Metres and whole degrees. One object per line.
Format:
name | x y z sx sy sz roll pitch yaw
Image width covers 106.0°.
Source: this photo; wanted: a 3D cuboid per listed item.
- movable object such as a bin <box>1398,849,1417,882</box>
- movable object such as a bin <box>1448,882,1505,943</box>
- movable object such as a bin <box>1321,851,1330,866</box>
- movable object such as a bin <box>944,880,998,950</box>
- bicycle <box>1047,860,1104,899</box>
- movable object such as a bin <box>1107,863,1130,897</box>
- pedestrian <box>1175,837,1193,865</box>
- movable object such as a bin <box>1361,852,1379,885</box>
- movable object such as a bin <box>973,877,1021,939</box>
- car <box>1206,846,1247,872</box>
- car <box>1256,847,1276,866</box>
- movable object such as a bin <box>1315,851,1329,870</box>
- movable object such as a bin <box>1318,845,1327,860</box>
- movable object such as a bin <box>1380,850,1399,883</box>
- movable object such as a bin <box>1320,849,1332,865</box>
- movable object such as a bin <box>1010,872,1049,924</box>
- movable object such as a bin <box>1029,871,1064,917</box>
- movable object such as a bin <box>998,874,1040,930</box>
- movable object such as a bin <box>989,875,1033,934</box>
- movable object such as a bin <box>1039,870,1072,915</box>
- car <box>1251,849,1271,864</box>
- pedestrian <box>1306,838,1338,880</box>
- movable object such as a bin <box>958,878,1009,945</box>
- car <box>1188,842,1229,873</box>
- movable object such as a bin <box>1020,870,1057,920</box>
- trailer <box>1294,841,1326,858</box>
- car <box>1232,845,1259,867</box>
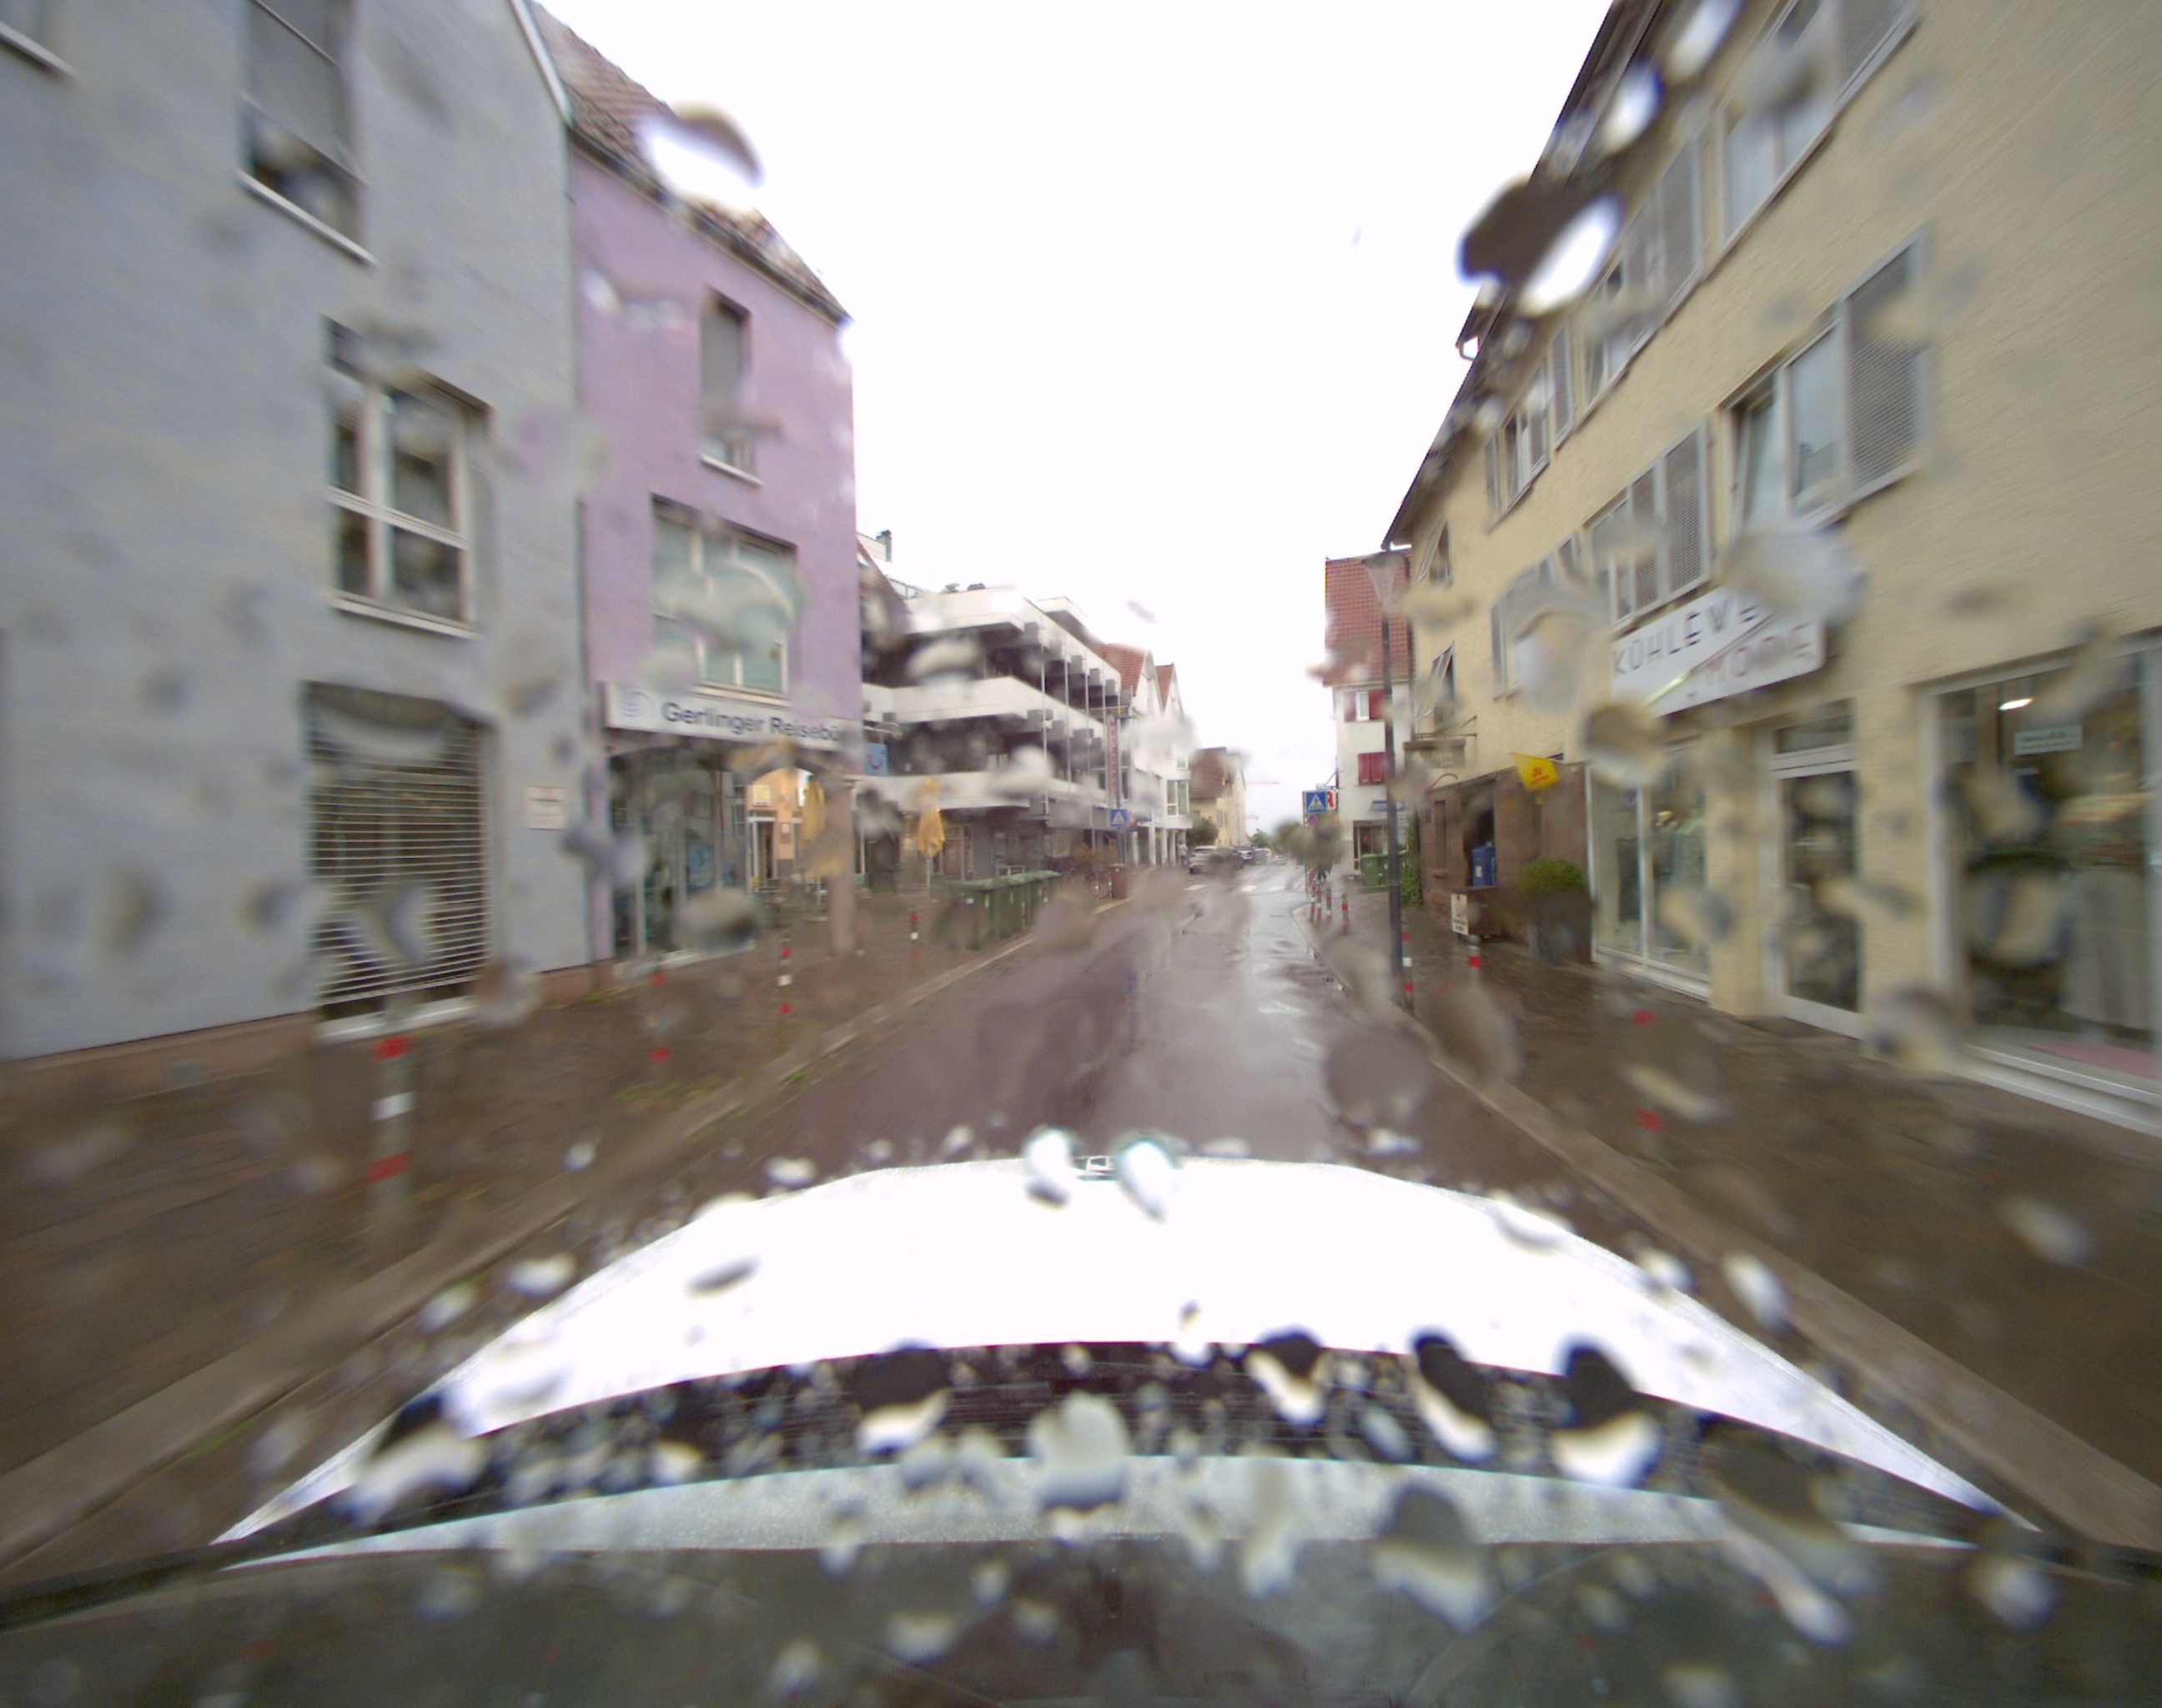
movable object such as a bin | 10.838 0.382 27.041 0.496 1.056 0.551 -4 -2 17
movable object such as a bin | 6.117 0.891 12.620 0.542 0.836 0.913 -4 0 12
movable object such as a bin | 20.848 0.378 69.430 0.632 1.290 0.635 -2 -2 22
movable object such as a bin | -1.780 0.985 13.287 0.682 1.078 0.679 -1 0 9
bicycle | -0.168 0.799 25.529 1.741 1.164 0.444 -1 -2 -3
movable object such as a bin | 1.165 0.804 25.585 0.684 1.020 0.632 -1 0 0
pedestrian | 6.932 -0.190 54.746 1.027 1.806 1.121 -1 0 17
movable object such as a bin | 9.709 0.481 27.395 0.496 1.056 0.551 -4 -2 17
movable object such as a bin | -1.529 0.974 14.911 0.682 1.081 0.671 -1 0 9
car | 9.441 0.307 52.613 1.815 1.498 4.786 -3 0 19
car | 18.927 0.329 83.247 1.710 1.825 4.446 -2 -2 15
movable object such as a bin | 13.637 0.366 46.106 0.670 1.086 0.721 -2 -1 19
movable object such as a bin | 20.845 -0.104 70.395 0.632 1.290 0.635 -2 -2 22
movable object such as a bin | 10.300 0.428 27.214 0.496 1.056 0.551 -4 -2 17
movable object such as a bin | 18.405 0.239 61.153 0.798 1.131 0.866 -2 -2 16
movable object such as a bin | -1.104 0.940 17.586 0.682 1.074 0.671 -1 0 9
movable object such as a bin | -0.803 0.934 19.157 0.682 1.042 0.671 -1 0 9
movable object such as a bin | -1.266 0.974 16.746 0.682 1.105 0.671 -1 0 9
movable object such as a bin | -1.371 0.983 16.038 0.682 1.105 0.671 -1 0 9
movable object such as a bin | -0.619 0.933 19.867 0.682 1.039 0.671 -1 0 9
car | 17.207 0.248 77.680 1.669 1.389 3.840 -2 -2 14
pedestrian | 10.143 0.204 34.286 1.169 1.697 1.182 -3 -1 15
movable object such as a bin | -1.667 0.980 14.030 0.682 1.087 0.714 -1 0 9
car | 7.410 0.175 47.042 1.777 1.550 4.019 -2 1 17
movable object such as a bin | -0.959 0.925 18.341 0.682 1.076 0.671 -1 0 9
trailer | 44.145 -0.842 156.905 5.742 2.948 2.007 -2 -2 12
car | 13.131 0.195 64.955 1.766 1.569 4.426 -2 -2 16
